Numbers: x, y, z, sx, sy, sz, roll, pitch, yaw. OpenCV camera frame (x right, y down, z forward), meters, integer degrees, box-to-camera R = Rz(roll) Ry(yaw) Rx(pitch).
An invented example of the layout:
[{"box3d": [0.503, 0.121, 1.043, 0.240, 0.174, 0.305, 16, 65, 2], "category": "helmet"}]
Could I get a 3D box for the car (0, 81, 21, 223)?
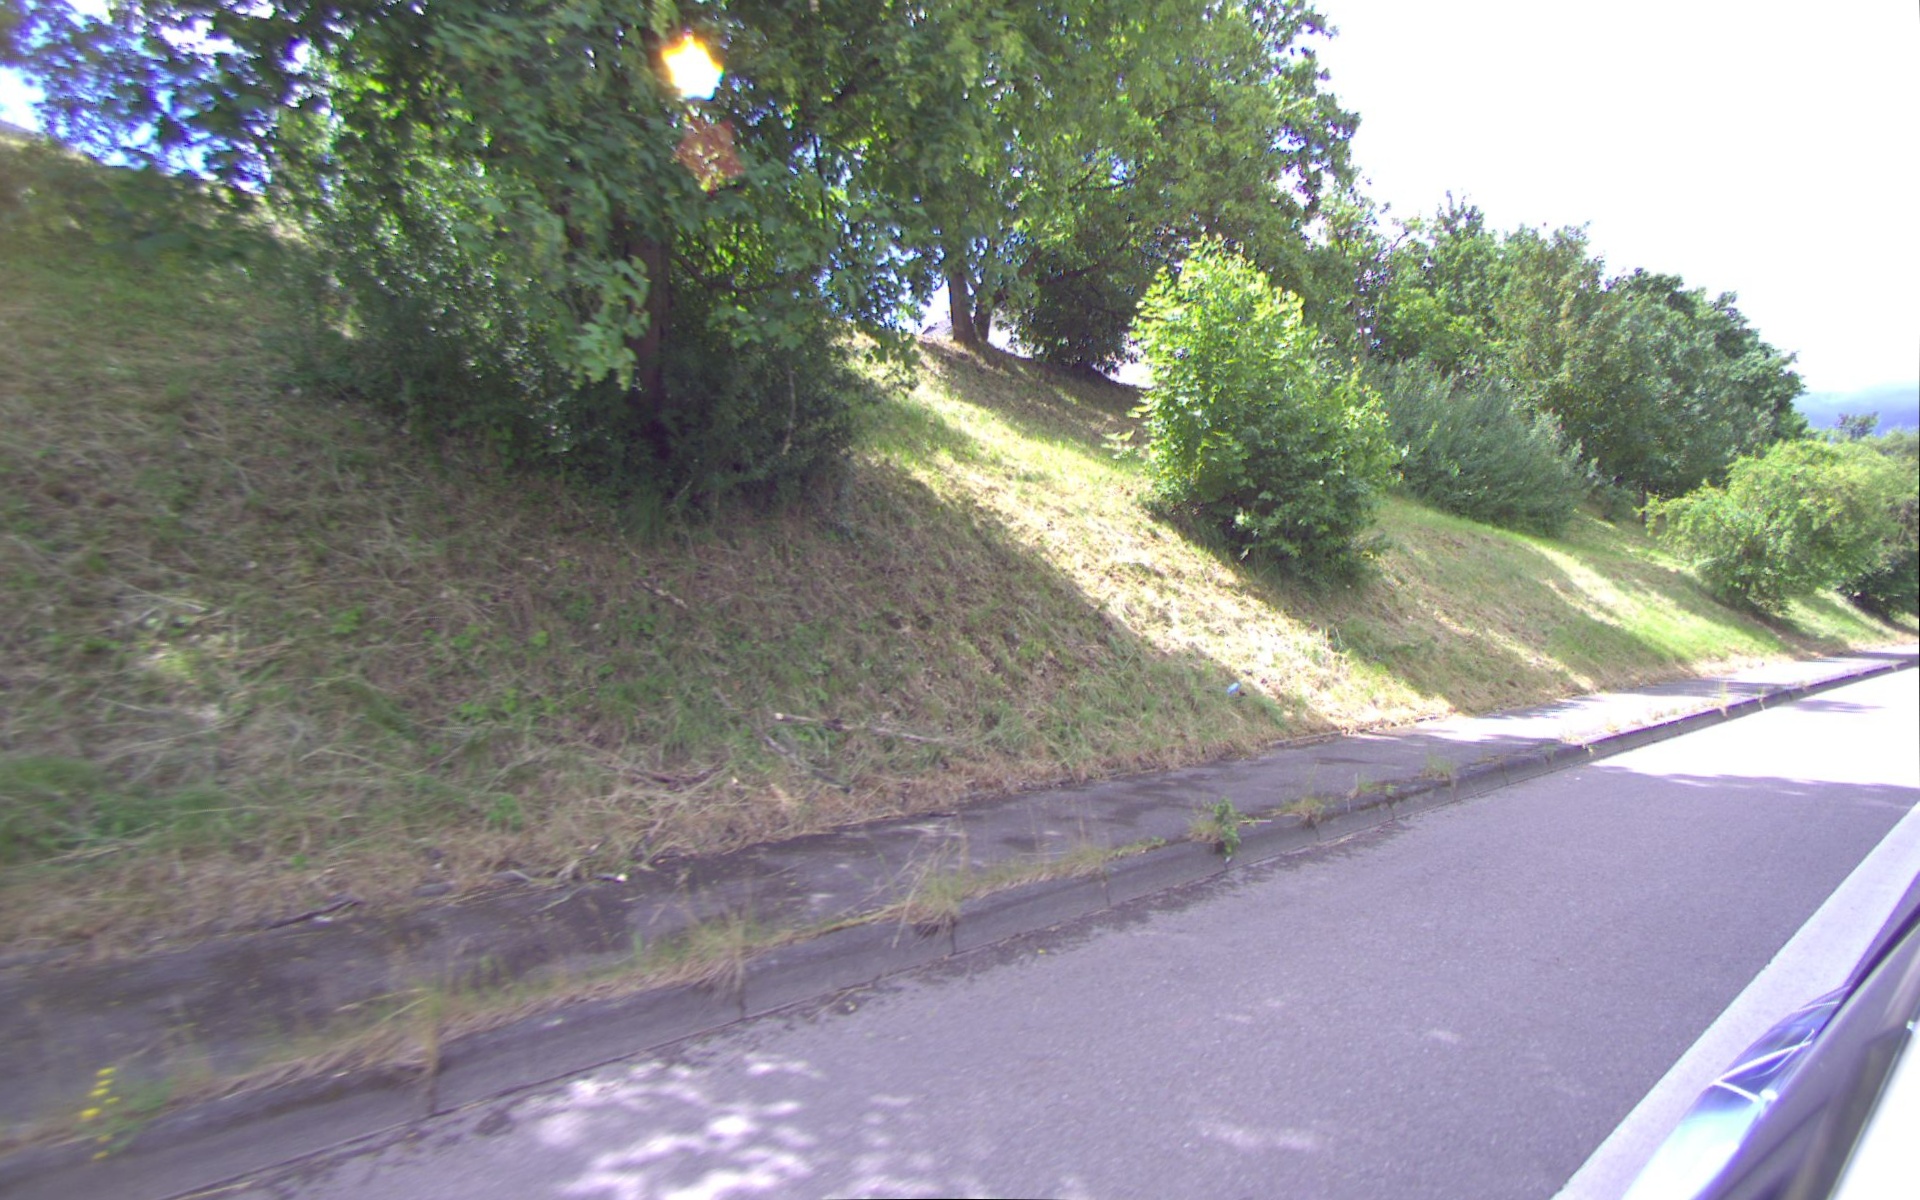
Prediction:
[{"box3d": [-14.325, -6.169, 13.004, 3.276, 1.460, 1.451, 0, 0, -42], "category": "car"}]
